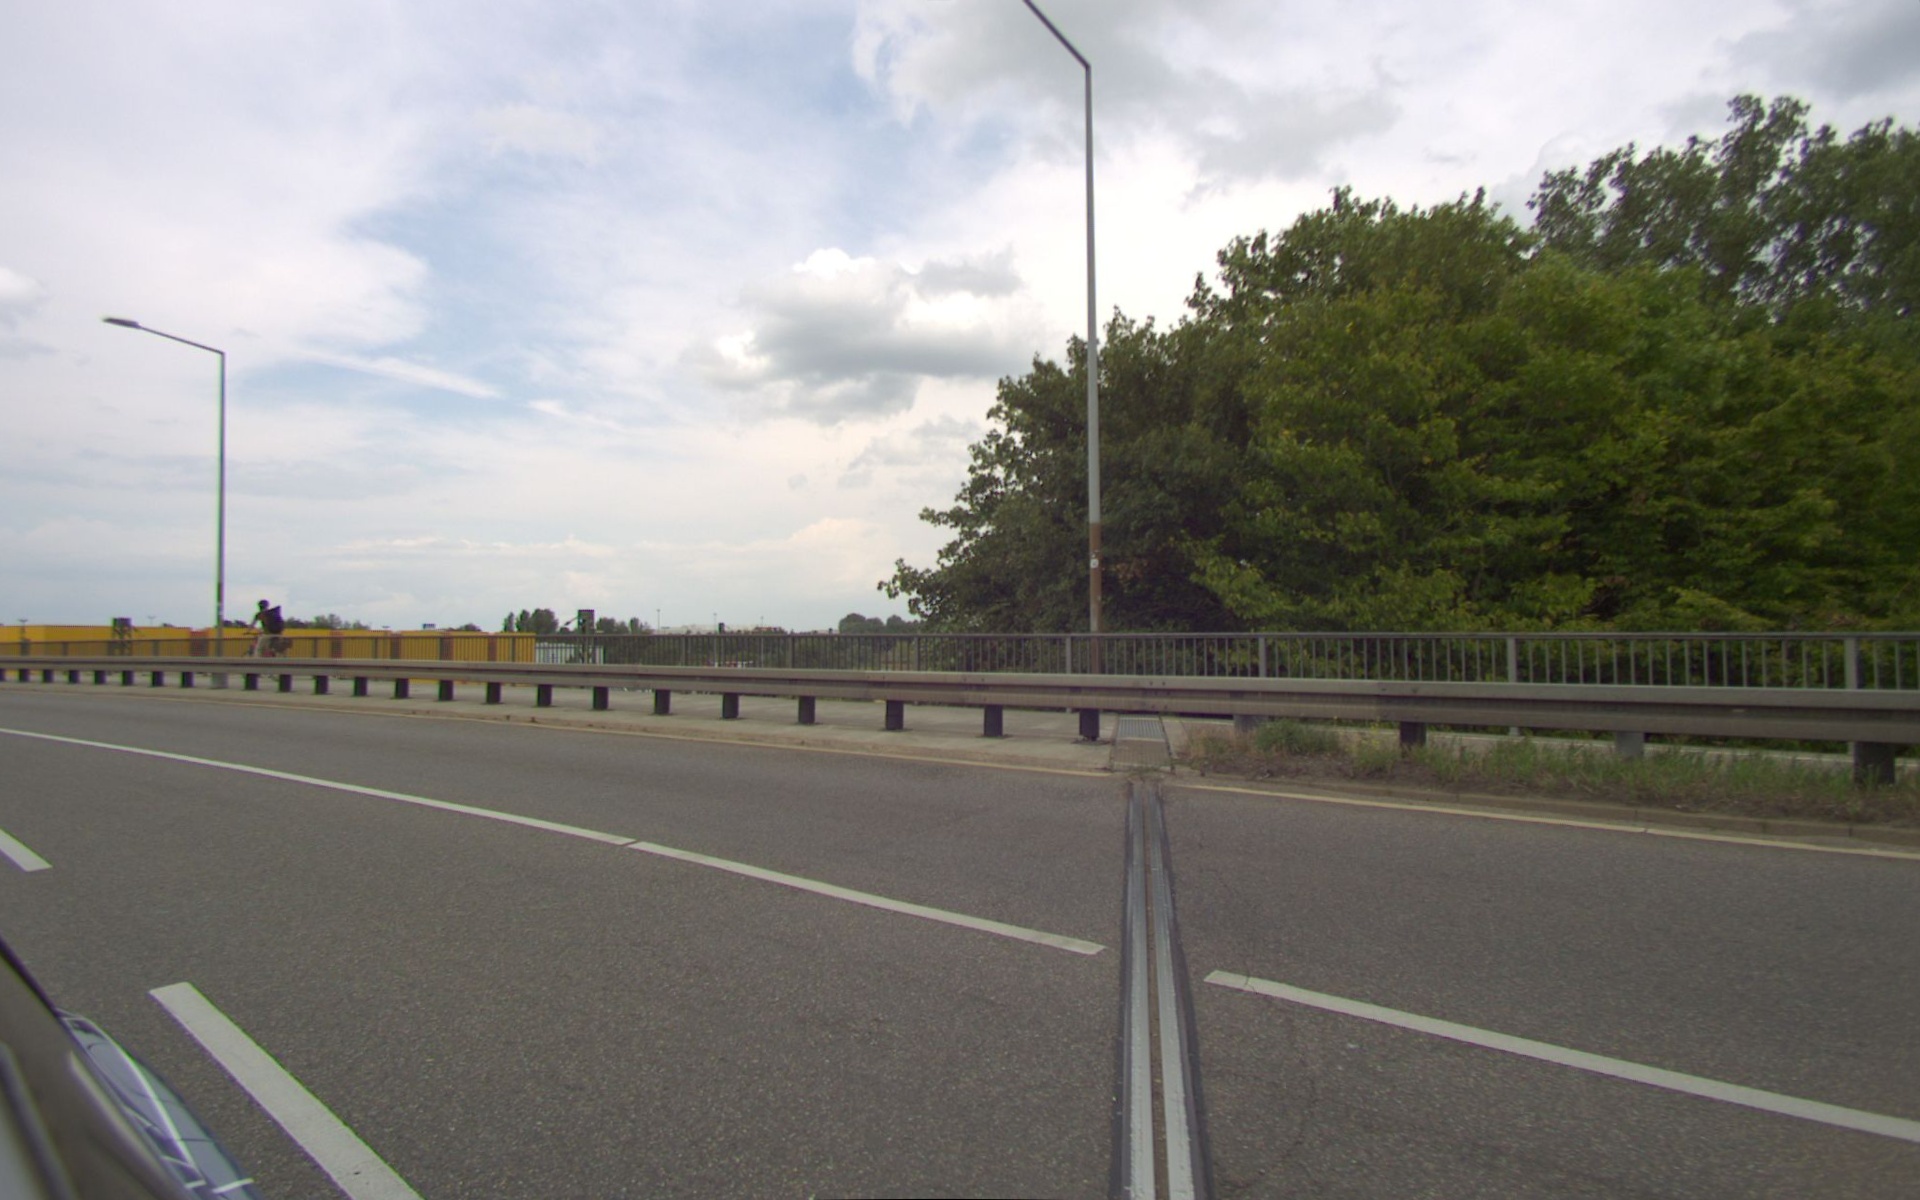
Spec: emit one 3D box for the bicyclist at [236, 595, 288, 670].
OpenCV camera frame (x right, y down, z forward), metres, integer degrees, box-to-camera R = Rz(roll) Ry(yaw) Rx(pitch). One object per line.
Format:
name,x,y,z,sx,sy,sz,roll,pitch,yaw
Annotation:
bicyclist,-15.712,0.712,22.792,0.647,1.643,0.766,-1,0,30

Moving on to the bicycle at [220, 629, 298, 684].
bicycle,-15.876,1.268,22.909,1.897,1.183,0.631,-2,-1,28
